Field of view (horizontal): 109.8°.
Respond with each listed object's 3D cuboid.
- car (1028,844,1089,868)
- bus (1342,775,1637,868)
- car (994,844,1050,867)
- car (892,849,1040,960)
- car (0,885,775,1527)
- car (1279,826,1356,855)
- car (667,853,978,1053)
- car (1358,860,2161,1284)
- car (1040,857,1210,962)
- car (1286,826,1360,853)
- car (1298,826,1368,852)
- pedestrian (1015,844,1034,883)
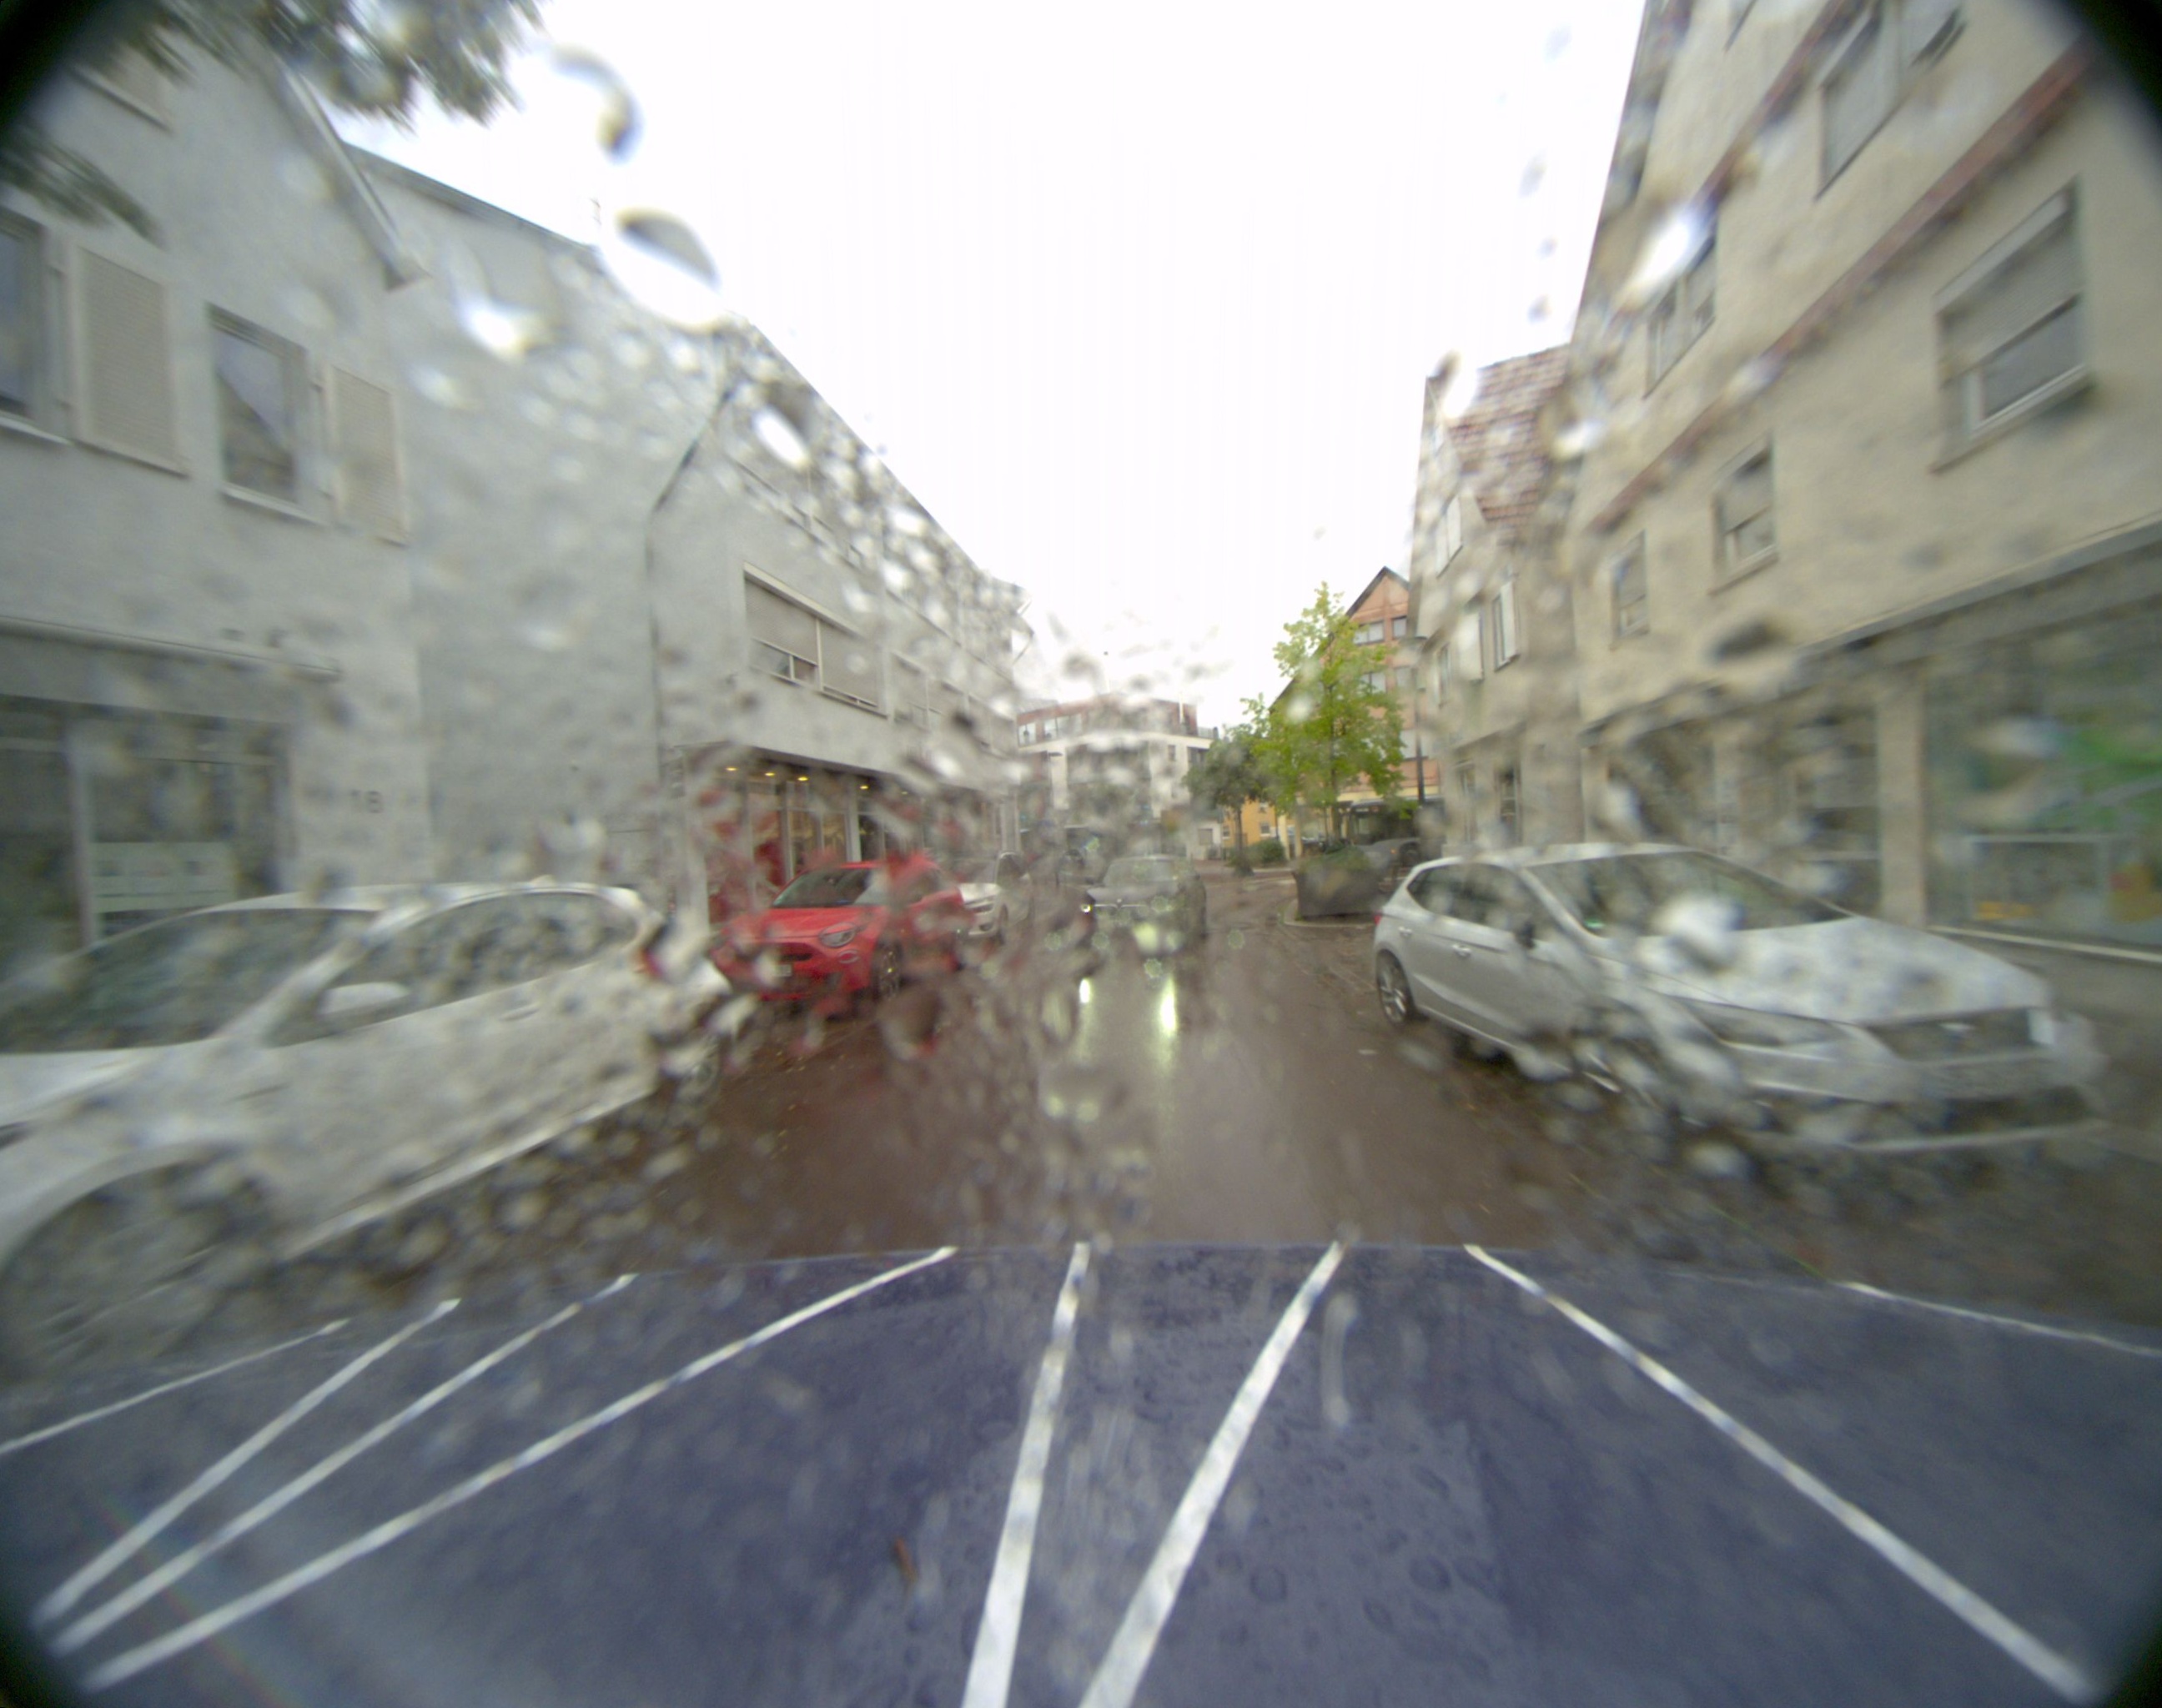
[{"bbox_3d":[-1.583,0.159,53.130,3.989,1.565,1.722,-2,2,38],"label":"car"},{"bbox_3d":[17.003,-1.260,32.563,10.667,3.281,2.684,-2,2,25],"label":"bus"},{"bbox_3d":[-4.411,0.116,56.806,3.989,1.565,1.722,-2,2,38],"label":"car"},{"bbox_3d":[-1.976,0.808,14.404,1.693,1.680,4.279,-2,1,6],"label":"car"},{"bbox_3d":[-3.458,1.024,3.565,1.693,1.530,4.406,-2,0,8],"label":"car"},{"bbox_3d":[13.971,-0.795,44.920,3.990,1.477,2.003,-2,1,30],"label":"car"},{"bbox_3d":[-2.606,0.906,8.777,1.693,1.680,3.959,-2,1,8],"label":"car"},{"bbox_3d":[3.317,0.801,4.663,1.694,1.414,3.815,-3,0,-2],"label":"car"},{"bbox_3d":[1.021,0.851,13.649,1.996,1.398,4.899,-3,0,15],"label":"car"},{"bbox_3d":[15.052,-0.885,47.217,3.990,1.477,2.003,-2,1,30],"label":"car"},{"bbox_3d":[16.473,-0.994,49.705,3.990,1.477,2.003,-2,1,30],"label":"car"},{"bbox_3d":[-2.724,0.454,36.511,0.673,1.801,0.679,-3,2,-18],"label":"pedestrian"}]
